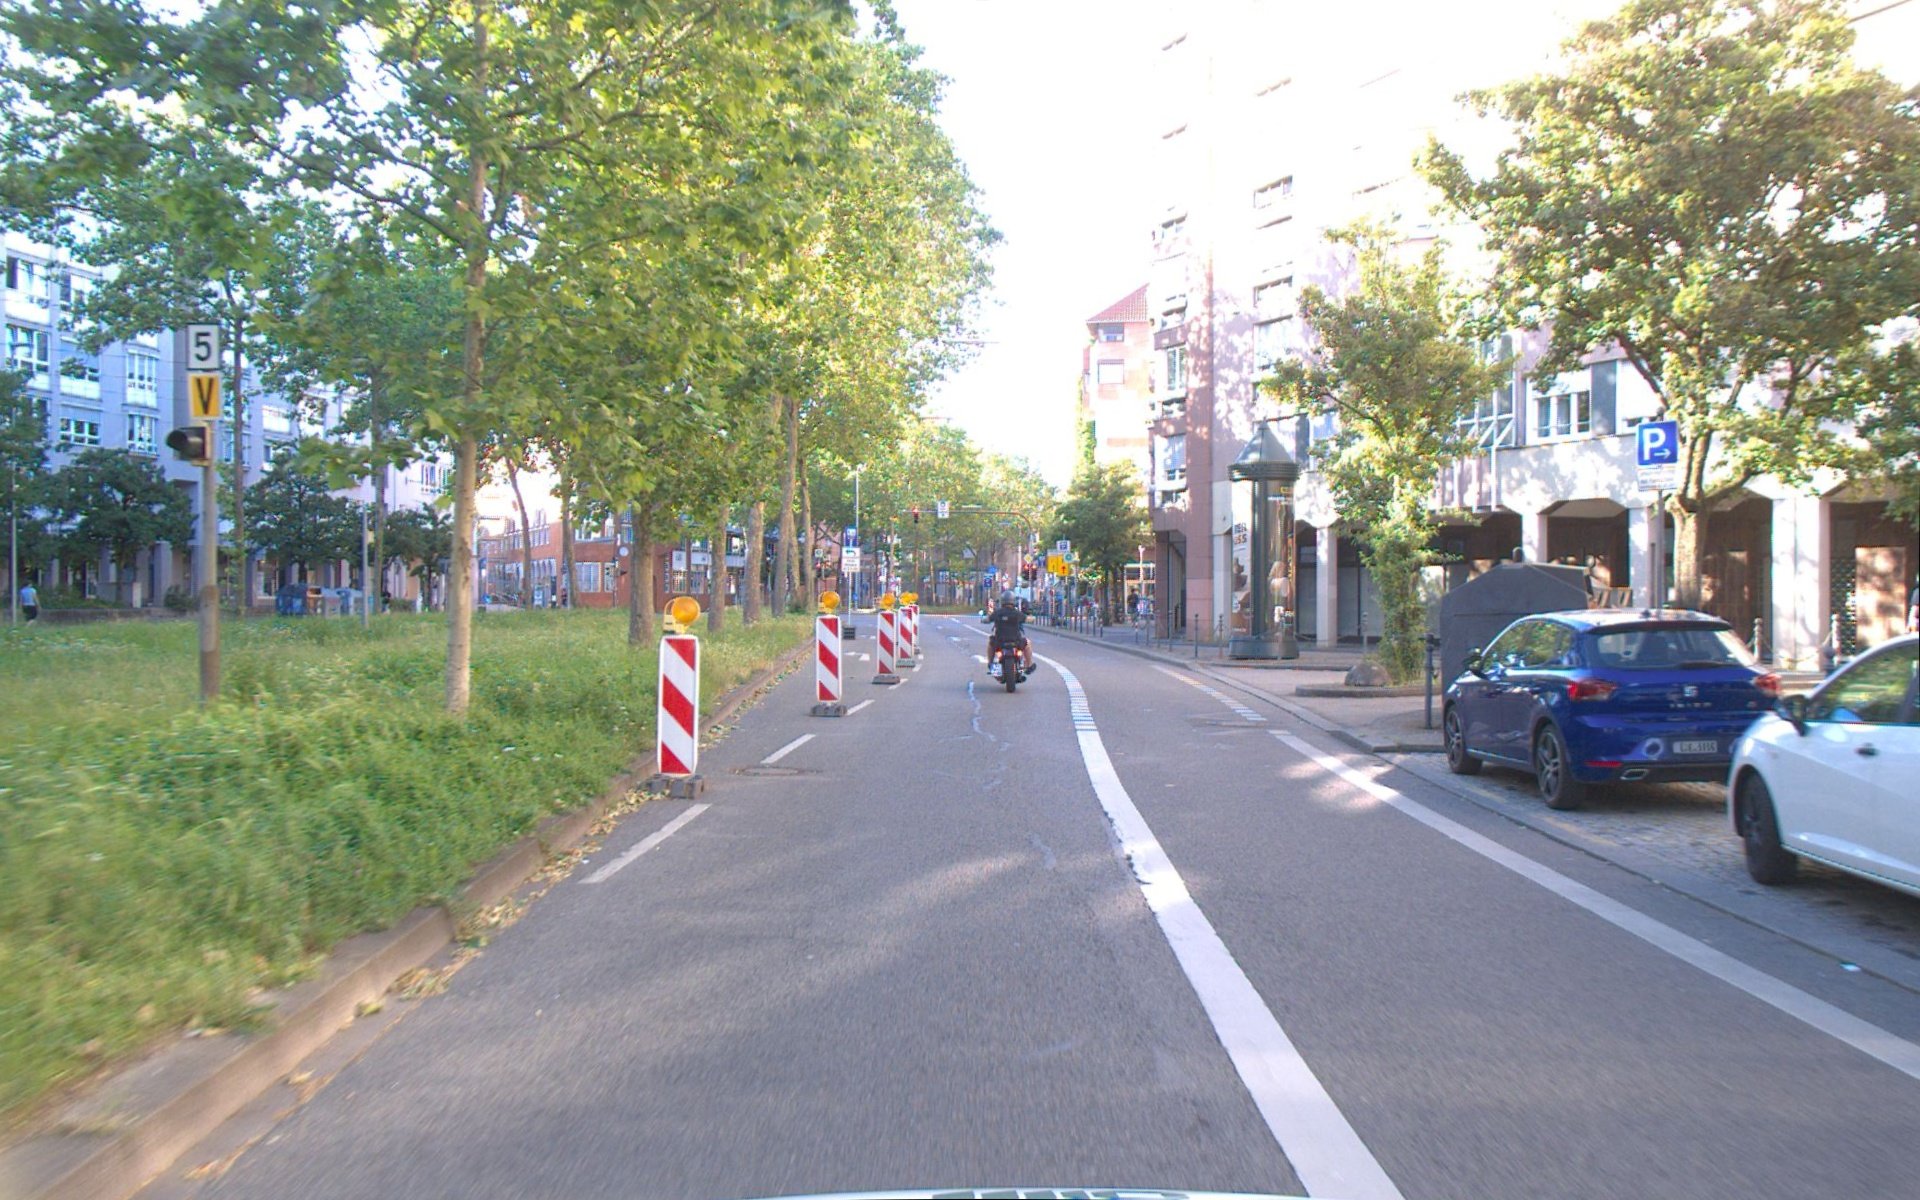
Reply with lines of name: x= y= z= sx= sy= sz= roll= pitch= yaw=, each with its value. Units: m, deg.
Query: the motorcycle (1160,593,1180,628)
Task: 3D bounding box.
motorcycle: x=8.309 y=0.404 z=65.600 sx=0.478 sy=1.396 sz=2.090 roll=0 pitch=0 yaw=-2

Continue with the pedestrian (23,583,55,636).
pedestrian: x=-30.683 y=0.318 z=55.106 sx=0.713 sy=1.770 sz=0.648 roll=0 pitch=0 yaw=1

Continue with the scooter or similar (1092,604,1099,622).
scooter or similar: x=8.655 y=0.836 z=105.684 sx=0.386 sy=1.178 sz=1.250 roll=0 pitch=0 yaw=4

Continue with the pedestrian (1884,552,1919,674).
pedestrian: x=16.094 y=0.214 z=27.800 sx=0.798 sy=2.016 sz=0.849 roll=0 pitch=0 yaw=16

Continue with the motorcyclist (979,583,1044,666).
motorcyclist: x=0.836 y=0.388 z=26.846 sx=0.991 sy=1.285 sz=0.774 roll=2 pitch=0 yaw=1

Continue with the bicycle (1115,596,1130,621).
bicycle: x=8.293 y=0.409 z=84.430 sx=0.608 sy=1.247 sz=1.928 roll=0 pitch=0 yaw=10

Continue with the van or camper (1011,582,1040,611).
van or camper: x=5.893 y=-0.290 z=147.720 sx=2.005 sy=2.585 sz=5.777 roll=0 pitch=0 yaw=8

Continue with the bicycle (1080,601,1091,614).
bicycle: x=9.424 y=0.553 z=124.148 sx=0.721 sy=0.956 sz=1.753 roll=0 pitch=0 yaw=2

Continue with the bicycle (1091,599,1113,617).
bicycle: x=9.916 y=0.563 z=115.707 sx=1.534 sy=1.248 sz=0.578 roll=0 pitch=0 yaw=4

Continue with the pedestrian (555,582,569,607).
pedestrian: x=-30.746 y=-0.438 z=127.919 sx=0.837 sy=1.902 sz=0.752 roll=0 pitch=0 yaw=6

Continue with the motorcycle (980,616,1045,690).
motorcycle: x=0.829 y=0.832 z=26.790 sx=0.997 sy=1.116 sz=2.008 roll=1 pitch=0 yaw=1

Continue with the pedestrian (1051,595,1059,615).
pedestrian: x=7.719 y=0.376 z=134.797 sx=0.631 sy=1.606 sz=0.748 roll=0 pitch=0 yaw=2

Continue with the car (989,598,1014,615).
car: x=3.291 y=0.478 z=131.679 sx=1.586 sy=1.325 sz=4.315 roll=0 pitch=0 yaw=7

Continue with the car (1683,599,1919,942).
car: x=5.132 y=0.766 z=7.854 sx=1.666 sy=1.491 sz=4.176 roll=-1 pitch=0 yaw=2

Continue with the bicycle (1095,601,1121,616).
bicycle: x=10.639 y=0.626 z=118.794 sx=1.712 sy=1.071 sz=0.739 roll=0 pitch=0 yaw=26

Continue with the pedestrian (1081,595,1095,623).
pedestrian: x=8.178 y=0.550 z=105.627 sx=0.774 sy=1.794 sz=0.606 roll=0 pitch=0 yaw=-20

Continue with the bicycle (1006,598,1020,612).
bicycle: x=3.989 y=0.392 z=124.519 sx=0.724 sy=1.071 sz=1.747 roll=0 pitch=0 yaw=-11

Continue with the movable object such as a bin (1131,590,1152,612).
movable object such as a bin: x=12.403 y=0.072 z=113.230 sx=1.380 sy=1.508 sz=0.872 roll=0 pitch=0 yaw=10

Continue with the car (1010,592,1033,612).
car: x=5.248 y=0.154 z=141.245 sx=1.585 sy=1.647 sz=4.488 roll=0 pitch=0 yaw=7

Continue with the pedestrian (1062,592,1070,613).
pedestrian: x=8.642 y=0.204 z=134.774 sx=0.686 sy=1.764 sz=0.768 roll=0 pitch=0 yaw=2

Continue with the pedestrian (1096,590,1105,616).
pedestrian: x=8.991 y=0.192 z=105.886 sx=0.450 sy=1.702 sz=0.678 roll=0 pitch=0 yaw=-9

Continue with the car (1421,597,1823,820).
car: x=5.209 y=0.751 z=13.658 sx=1.667 sy=1.509 sz=4.249 roll=-1 pitch=0 yaw=1

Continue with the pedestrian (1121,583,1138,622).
pedestrian: x=7.828 y=0.112 z=76.566 sx=0.764 sy=1.769 sz=0.837 roll=0 pitch=0 yaw=7

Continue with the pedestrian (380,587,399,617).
pedestrian: x=-31.815 y=0.121 z=92.193 sx=0.692 sy=1.667 sz=0.789 roll=0 pitch=0 yaw=9
